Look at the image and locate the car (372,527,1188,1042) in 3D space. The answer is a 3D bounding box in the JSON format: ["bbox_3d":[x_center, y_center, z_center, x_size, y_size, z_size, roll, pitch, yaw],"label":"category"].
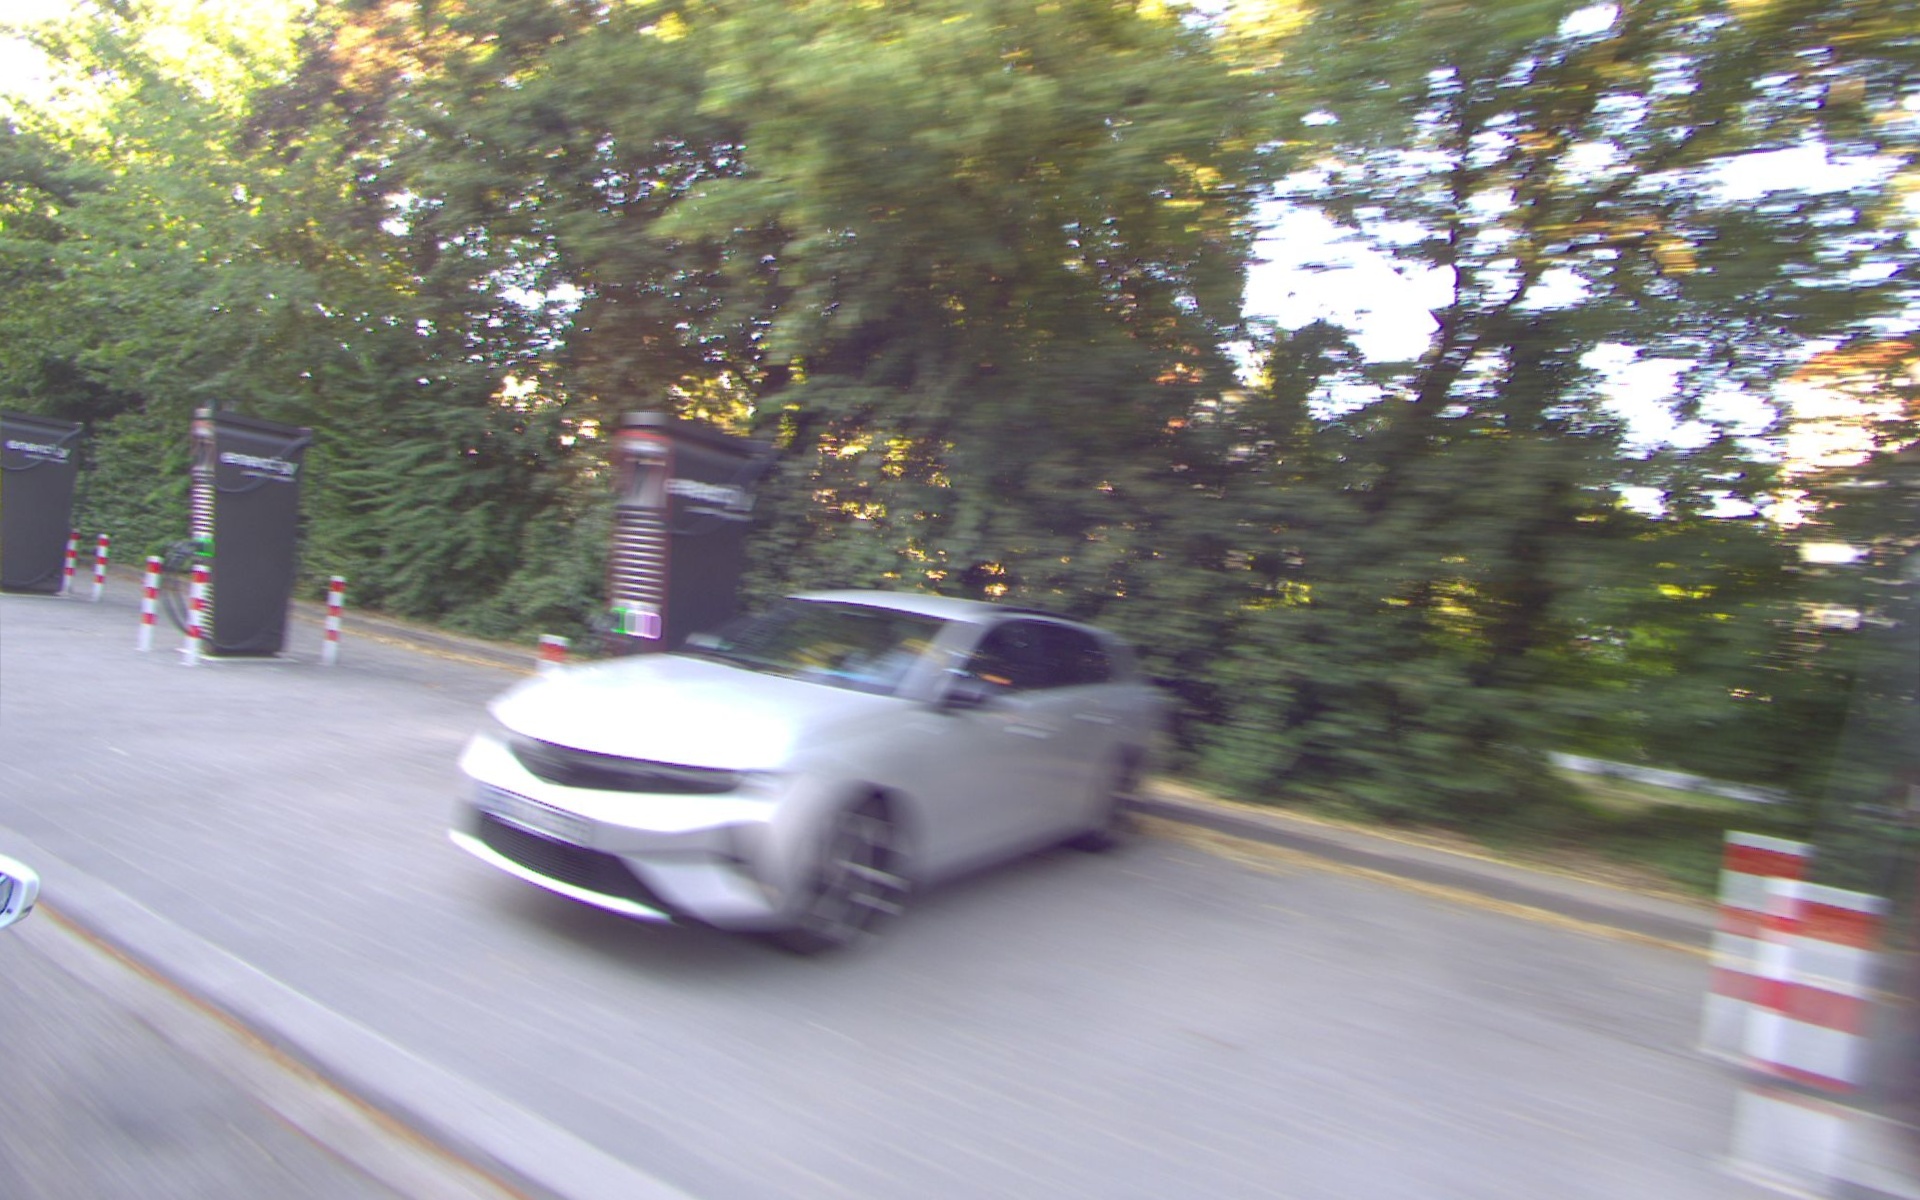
[{"bbox_3d":[-0.403,0.653,5.459,1.753,1.488,4.444,7,1,31],"label":"car"}]

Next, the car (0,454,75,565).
[{"bbox_3d":[-18.435,-1.776,17.429,1.968,1.883,4.229,7,1,33],"label":"car"}]

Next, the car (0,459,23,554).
[{"bbox_3d":[-20.569,-2.022,18.889,1.588,1.859,4.025,7,1,33],"label":"car"}]
